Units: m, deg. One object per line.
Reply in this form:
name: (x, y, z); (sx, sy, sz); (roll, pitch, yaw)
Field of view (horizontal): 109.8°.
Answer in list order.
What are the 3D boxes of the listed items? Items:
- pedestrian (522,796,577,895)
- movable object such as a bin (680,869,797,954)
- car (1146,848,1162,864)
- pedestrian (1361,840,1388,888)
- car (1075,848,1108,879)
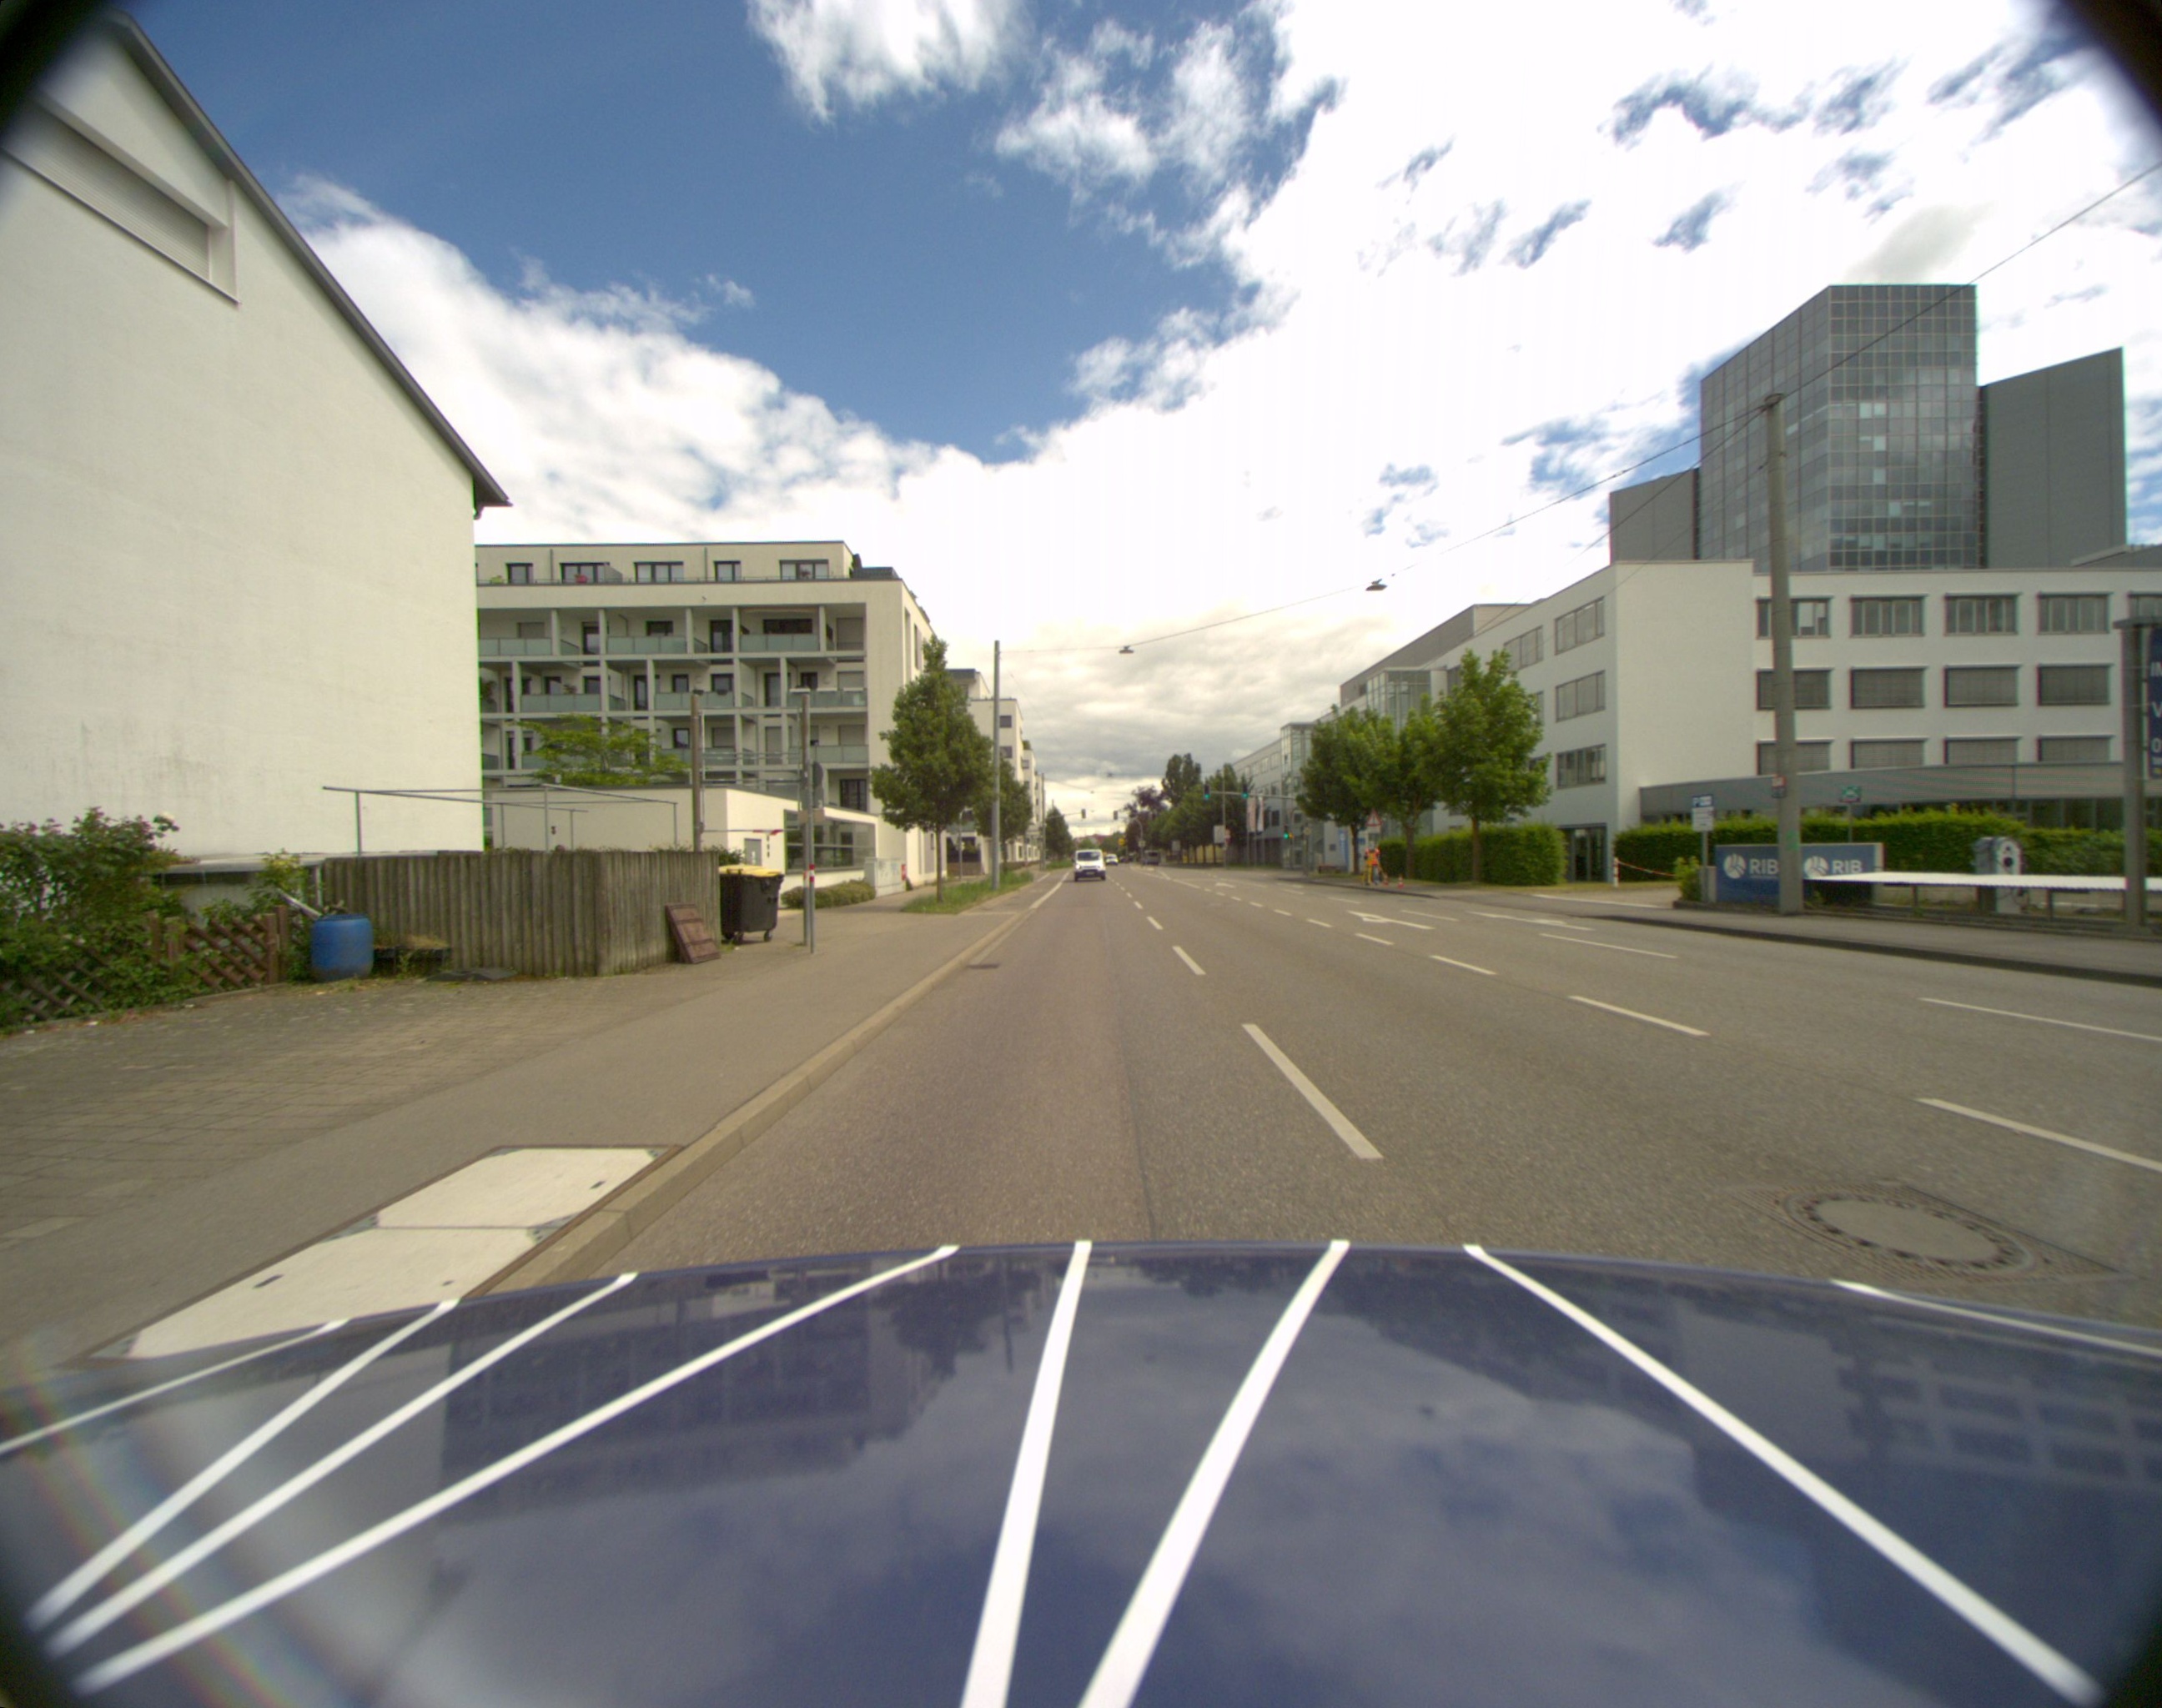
pedestrian: (-9.696, -0.159, 13.864); (0.507, 1.755, 0.501); (-3, 2, 17)
movable object such as a bin: (-5.990, 0.976, 13.354); (1.320, 1.353, 1.252); (-1, 2, 17)
car: (11.932, 0.316, 124.312); (2.148, 2.457, 6.073); (0, 0, 1)
pedestrian: (12.703, 0.420, 32.881); (0.724, 2.002, 0.812); (-2, 2, 43)
car: (0.649, 0.606, 50.576); (1.999, 1.905, 3.999); (-2, 1, -2)
